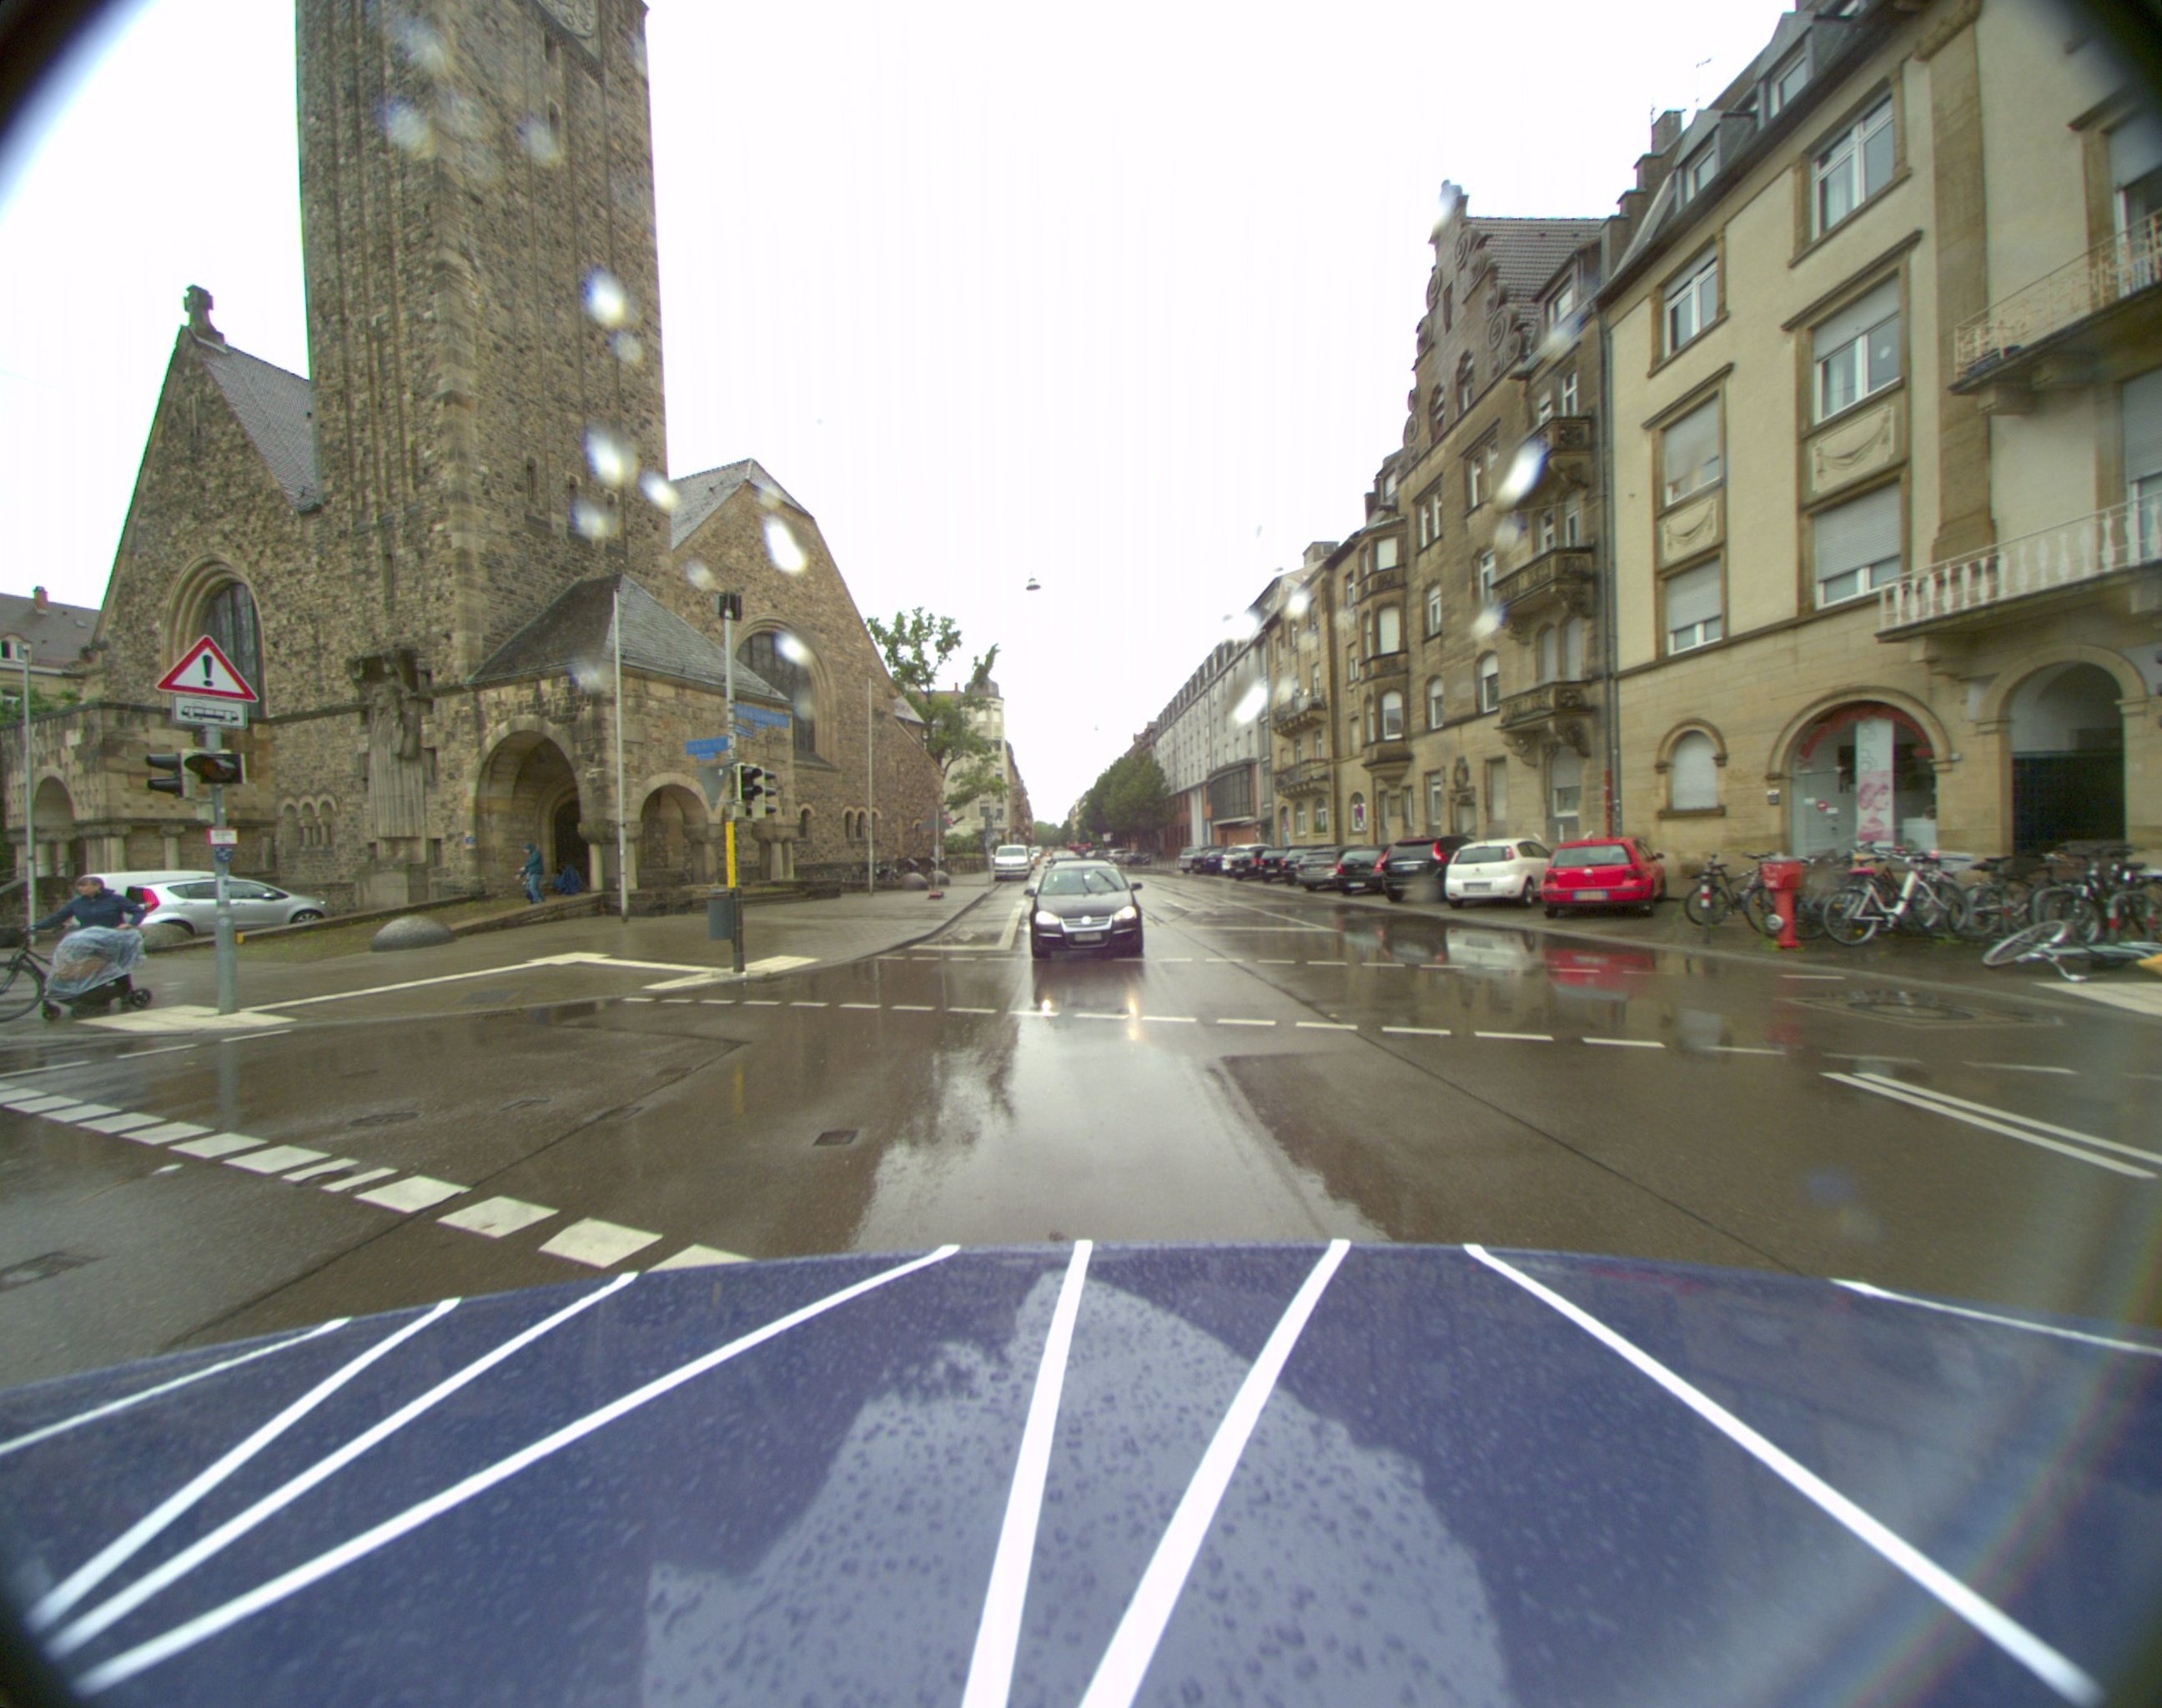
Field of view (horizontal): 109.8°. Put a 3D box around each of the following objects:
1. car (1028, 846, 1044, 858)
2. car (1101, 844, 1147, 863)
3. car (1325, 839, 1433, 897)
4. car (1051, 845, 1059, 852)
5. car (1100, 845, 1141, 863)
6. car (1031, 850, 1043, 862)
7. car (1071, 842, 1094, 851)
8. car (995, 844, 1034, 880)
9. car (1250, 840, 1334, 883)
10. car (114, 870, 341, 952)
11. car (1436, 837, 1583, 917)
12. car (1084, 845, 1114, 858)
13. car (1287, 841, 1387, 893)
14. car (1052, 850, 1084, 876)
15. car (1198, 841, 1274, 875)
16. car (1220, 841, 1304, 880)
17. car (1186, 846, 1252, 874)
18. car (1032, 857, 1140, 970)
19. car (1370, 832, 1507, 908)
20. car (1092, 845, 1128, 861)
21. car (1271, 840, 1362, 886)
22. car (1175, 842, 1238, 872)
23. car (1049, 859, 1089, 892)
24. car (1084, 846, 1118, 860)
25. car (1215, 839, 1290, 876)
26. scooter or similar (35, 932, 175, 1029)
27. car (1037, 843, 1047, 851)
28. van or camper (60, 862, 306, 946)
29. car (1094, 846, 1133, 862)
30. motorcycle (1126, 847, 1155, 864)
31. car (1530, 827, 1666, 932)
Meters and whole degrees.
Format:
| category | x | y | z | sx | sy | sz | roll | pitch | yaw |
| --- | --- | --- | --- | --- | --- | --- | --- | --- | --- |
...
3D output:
| category | x | y | z | sx | sy | sz | roll | pitch | yaw |
| --- | --- | --- | --- | --- | --- | --- | --- | --- | --- |
| car | -5.681 | -0.300 | 96.053 | 1.922 | 1.471 | 4.219 | -1 | 1 | -2 |
| car | 4.179 | -0.068 | 74.289 | 4.006 | 1.804 | 1.995 | -2 | 1 | -29 |
| car | 9.255 | 0.422 | 23.518 | 3.316 | 1.516 | 1.697 | -4 | 1 | -40 |
| car | -7.126 | -1.556 | 209.731 | 1.998 | 1.705 | 4.374 | -1 | 1 | 2 |
| car | 4.105 | -0.022 | 79.006 | 3.803 | 1.705 | 1.998 | -1 | 1 | -12 |
| car | -5.113 | 0.245 | 88.690 | 1.356 | 1.285 | 3.012 | -1 | 1 | -2 |
| car | 0.270 | -1.450 | 142.975 | 3.809 | 1.705 | 1.995 | -2 | 1 | -36 |
| car | -3.773 | 0.377 | 43.793 | 1.909 | 1.911 | 5.270 | -1 | 1 | -2 |
| car | 9.074 | 0.309 | 32.605 | 3.765 | 1.535 | 1.624 | -4 | 1 | -42 |
| car | -21.633 | 1.384 | 19.429 | 1.732 | 1.566 | 3.361 | -2 | 4 | 24 |
| car | 10.028 | 0.472 | 17.656 | 4.001 | 1.525 | 1.700 | -4 | 1 | -41 |
| car | 2.500 | -0.361 | 106.866 | 3.803 | 1.705 | 1.904 | -1 | 1 | -12 |
| car | 8.909 | 0.443 | 26.327 | 3.435 | 1.535 | 1.697 | -4 | 1 | -41 |
| car | -0.797 | 0.492 | 44.231 | 1.766 | 1.430 | 3.747 | -1 | 1 | -2 |
| car | 8.506 | 0.188 | 41.654 | 3.732 | 1.519 | 1.897 | -6 | 3 | -33 |
| car | 8.515 | 0.312 | 35.577 | 3.733 | 1.535 | 1.774 | -4 | 1 | -37 |
| car | 8.077 | 0.324 | 44.274 | 3.734 | 1.519 | 1.713 | -2 | 1 | -37 |
| car | 0.005 | 0.869 | 13.113 | 1.548 | 1.553 | 4.069 | -1 | 1 | -2 |
| car | 9.601 | 0.376 | 20.261 | 4.092 | 1.682 | 1.759 | -4 | 1 | -41 |
| car | 3.344 | -0.088 | 87.641 | 3.803 | 1.705 | 1.998 | -1 | 1 | -12 |
| car | 9.247 | 0.356 | 29.734 | 3.449 | 1.535 | 1.624 | -4 | 1 | -38 |
| car | 7.857 | 0.148 | 47.345 | 3.931 | 1.720 | 1.811 | -2 | 1 | -43 |
| car | -0.542 | 0.848 | 31.574 | 1.548 | 1.214 | 3.606 | -1 | 1 | -2 |
| car | 2.520 | -0.143 | 94.916 | 3.803 | 1.705 | 1.998 | -1 | 1 | -12 |
| car | 8.809 | 0.181 | 38.850 | 3.733 | 1.617 | 1.774 | -4 | 1 | -40 |
| scooter or similar | -12.244 | 1.563 | 9.569 | 0.514 | 1.042 | 0.924 | -2 | 1 | 0 |
| car | -8.869 | -1.526 | 173.484 | 1.998 | 1.705 | 3.802 | -1 | 1 | 2 |
| van or camper | -24.604 | 1.288 | 21.040 | 1.645 | 1.719 | 3.933 | -1 | 4 | 21 |
| car | 3.453 | -0.017 | 82.055 | 3.803 | 1.705 | 1.998 | -1 | 1 | -12 |
| motorcycle | 5.037 | 0.157 | 64.226 | 2.256 | 1.302 | 0.758 | -4 | 1 | -2 |
| car | 10.173 | 0.438 | 14.820 | 1.799 | 1.499 | 4.006 | -6 | 1 | 39 |
